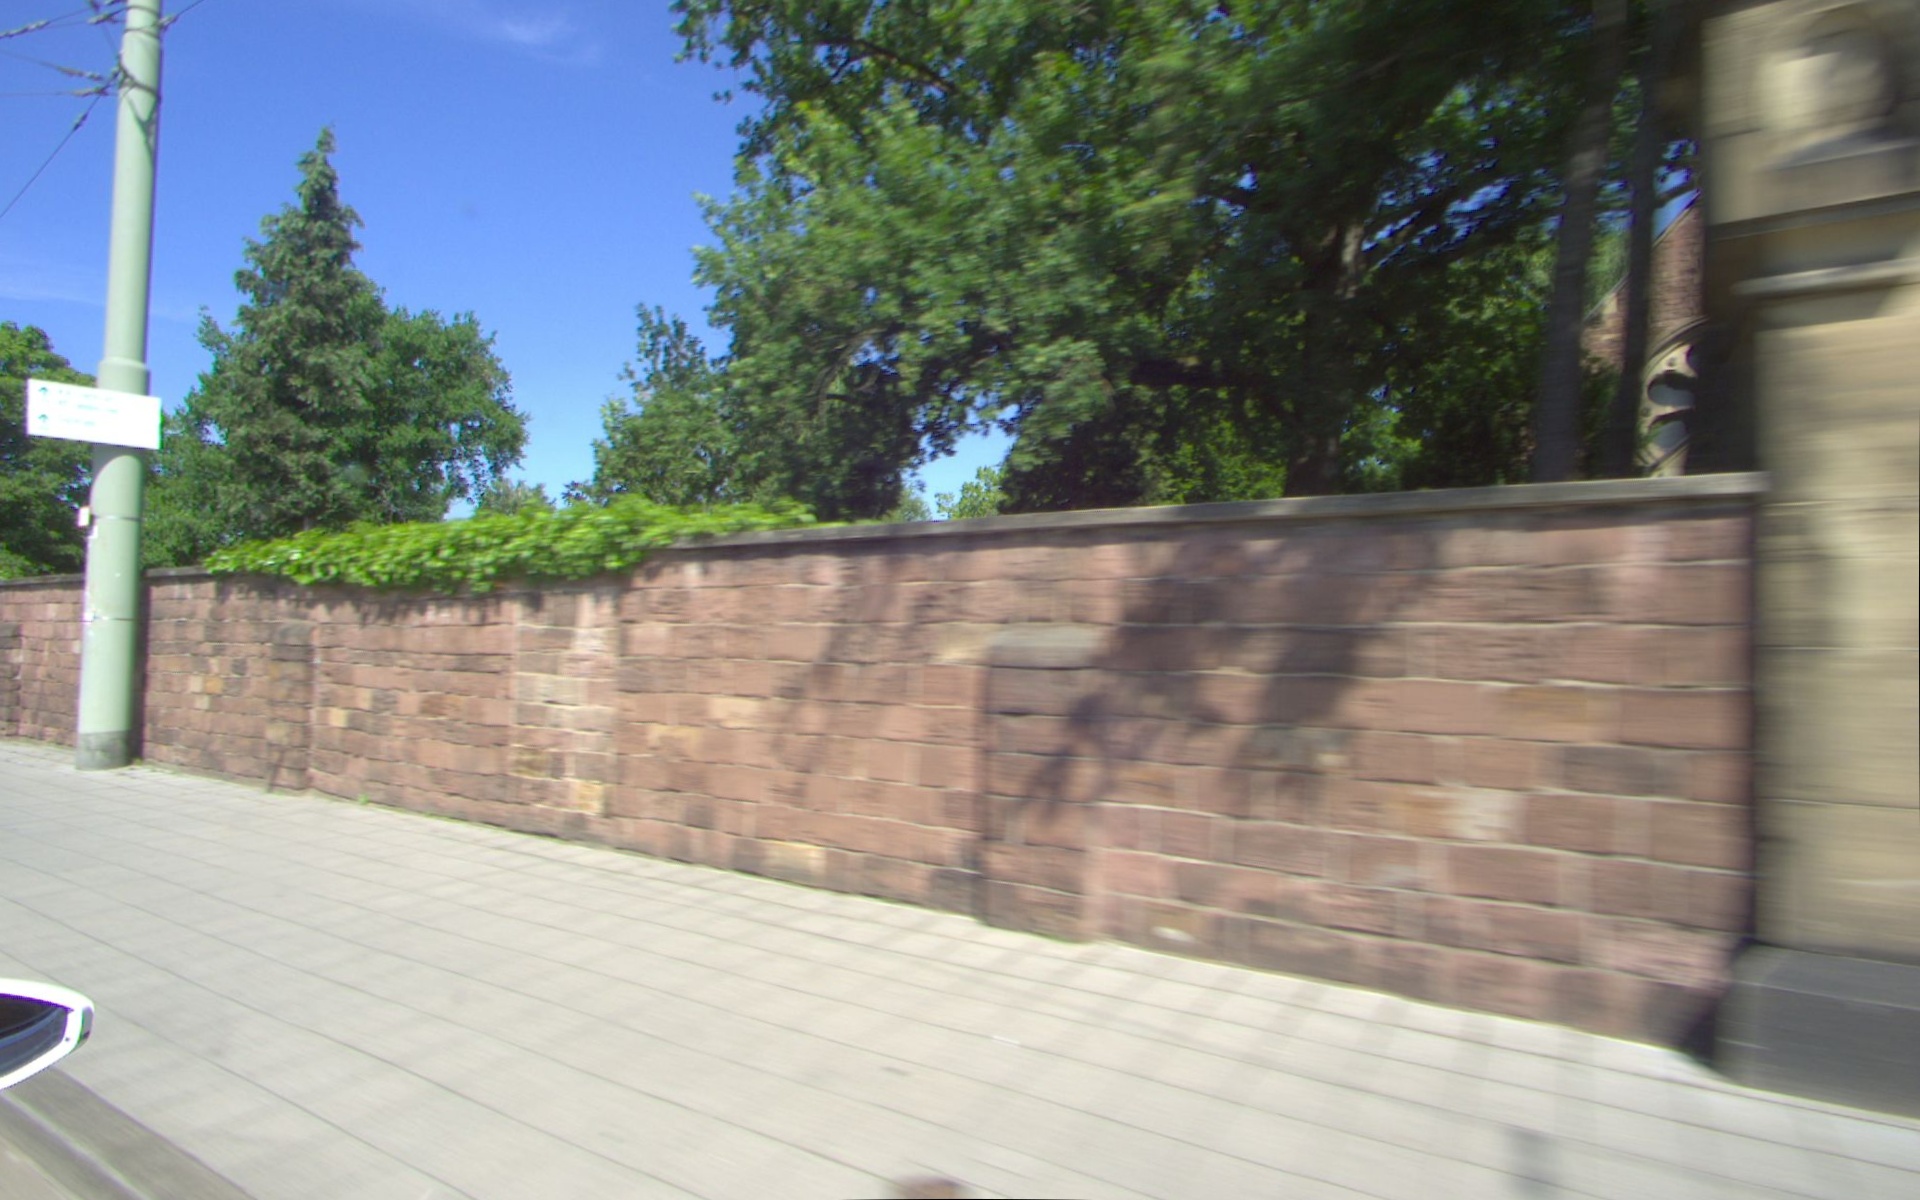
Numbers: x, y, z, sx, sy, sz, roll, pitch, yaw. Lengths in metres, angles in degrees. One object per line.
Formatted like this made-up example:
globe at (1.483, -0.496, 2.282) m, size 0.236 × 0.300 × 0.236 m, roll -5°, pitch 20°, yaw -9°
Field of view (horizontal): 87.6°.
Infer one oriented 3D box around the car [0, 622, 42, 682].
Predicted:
car at (-24.922, 1.240, 24.430) m, size 1.502 × 1.482 × 3.404 m, roll 0°, pitch -3°, yaw 32°
